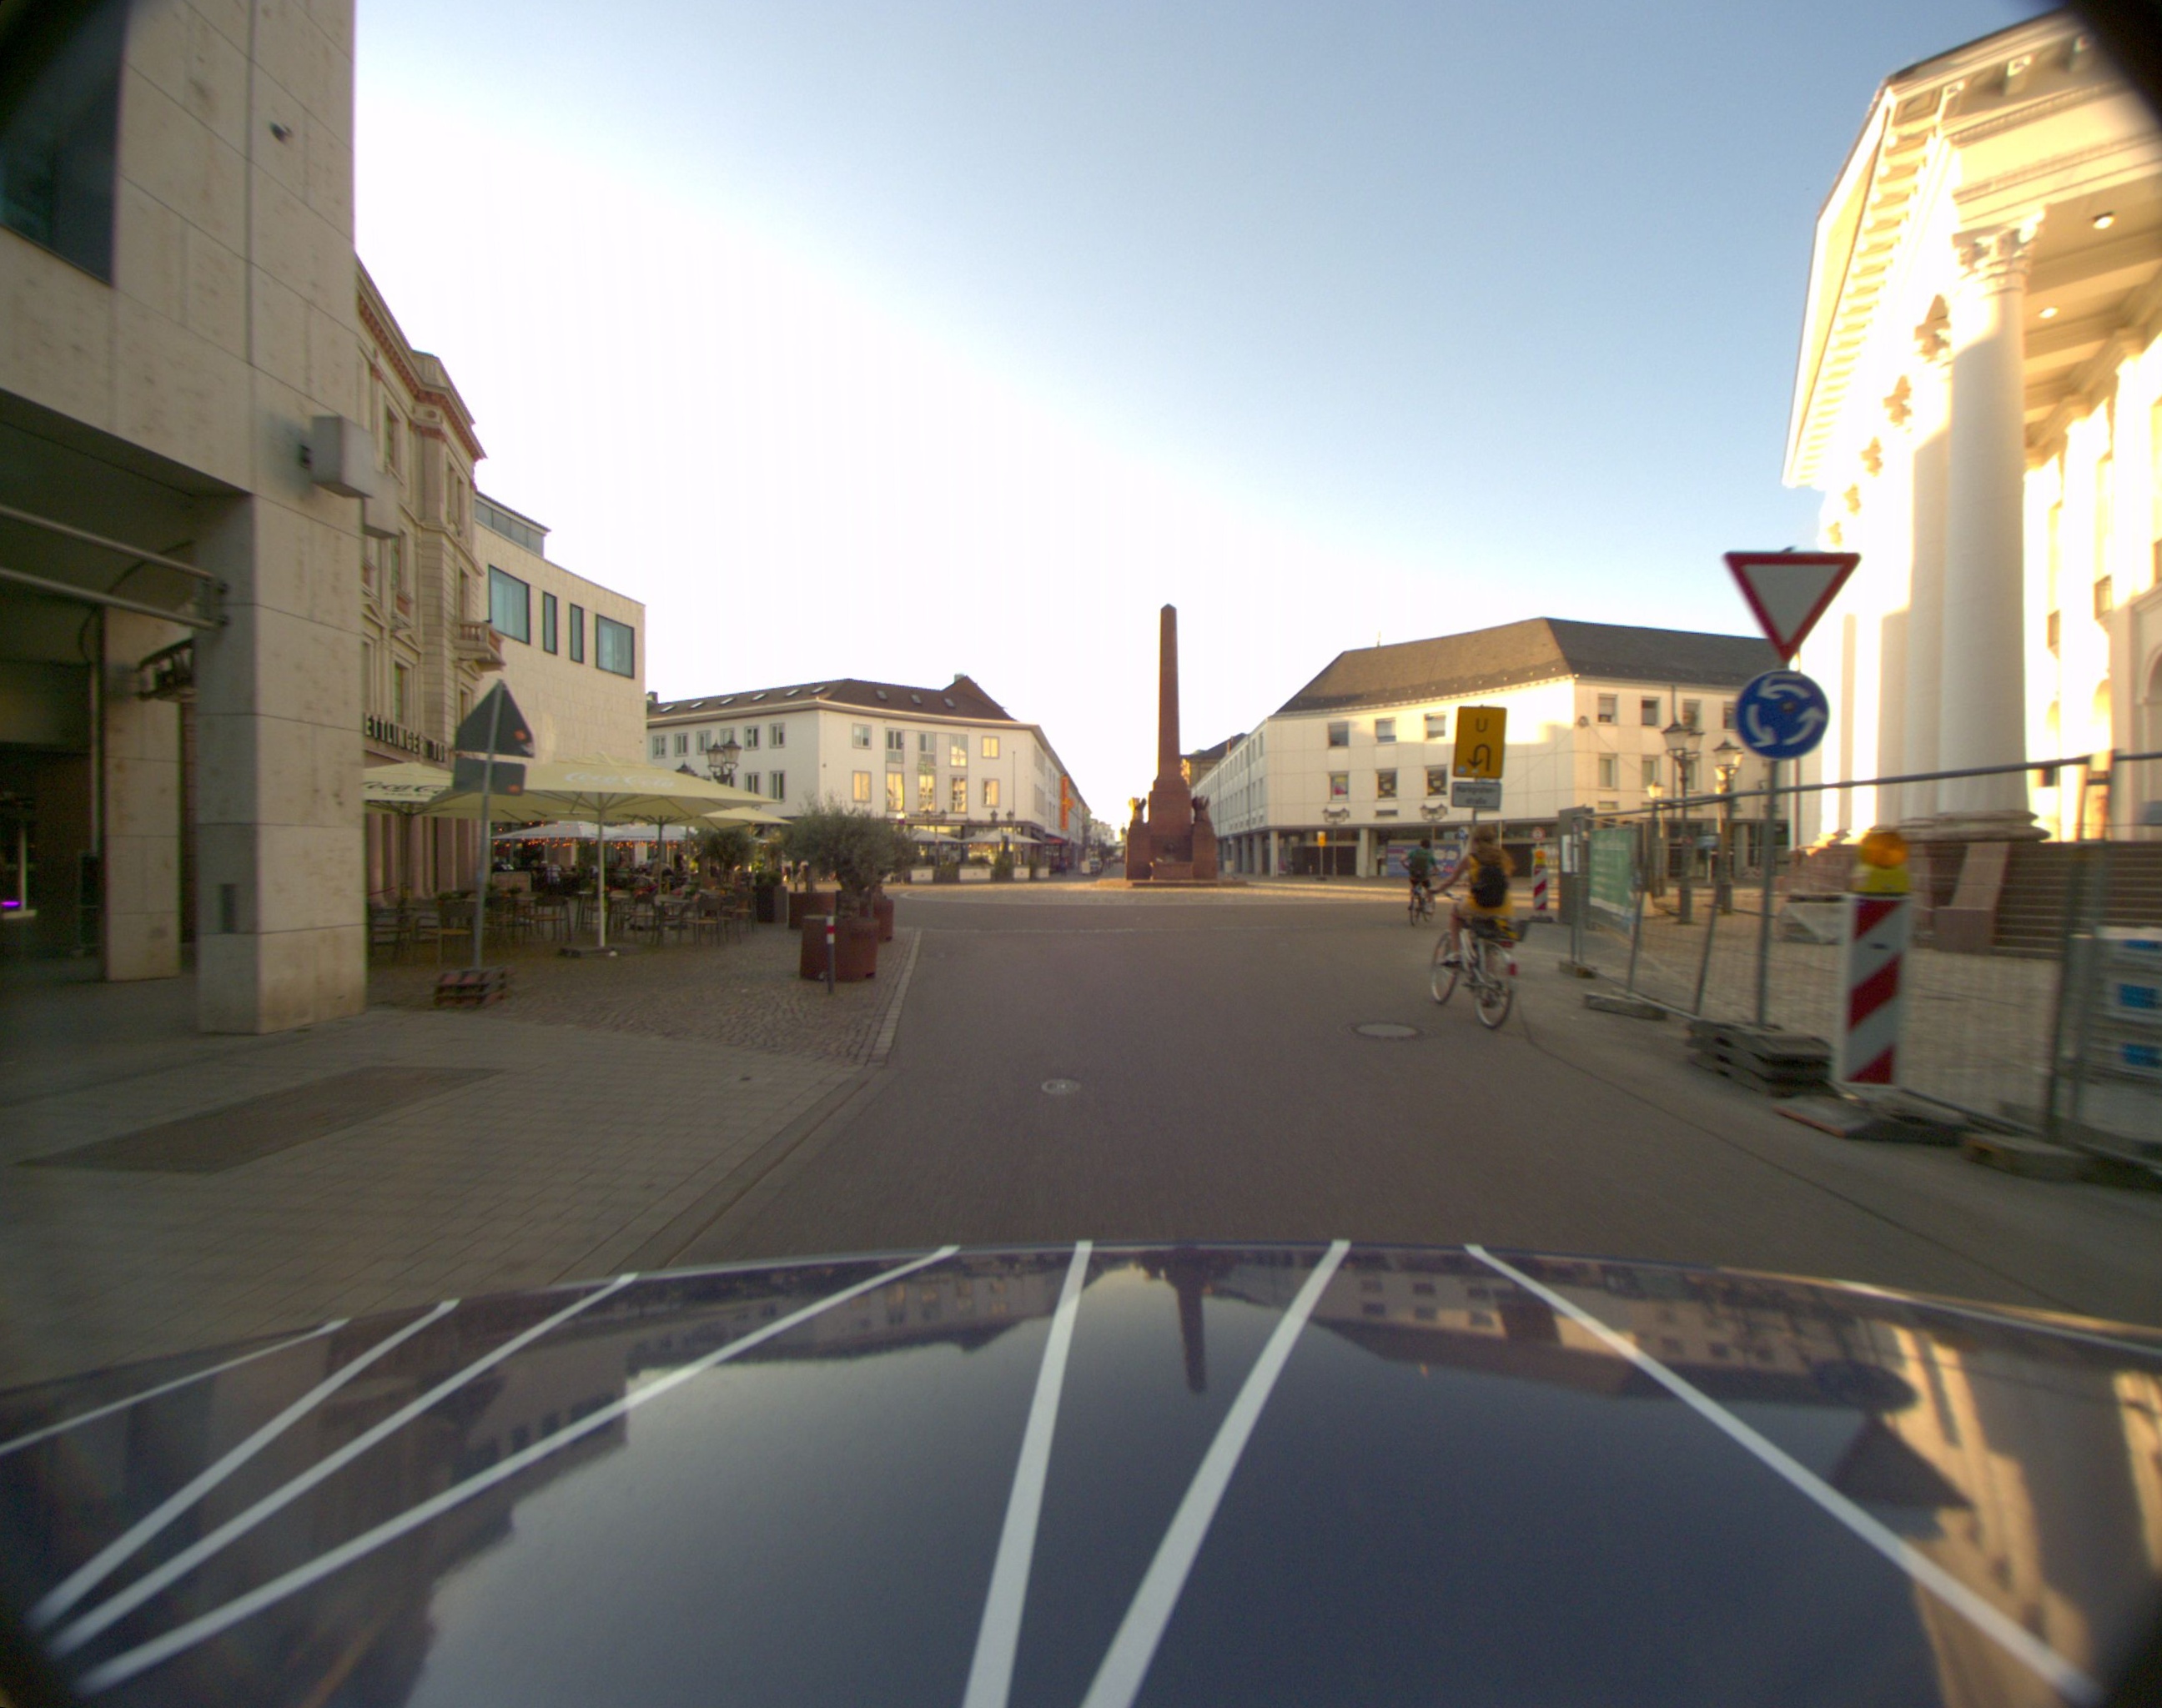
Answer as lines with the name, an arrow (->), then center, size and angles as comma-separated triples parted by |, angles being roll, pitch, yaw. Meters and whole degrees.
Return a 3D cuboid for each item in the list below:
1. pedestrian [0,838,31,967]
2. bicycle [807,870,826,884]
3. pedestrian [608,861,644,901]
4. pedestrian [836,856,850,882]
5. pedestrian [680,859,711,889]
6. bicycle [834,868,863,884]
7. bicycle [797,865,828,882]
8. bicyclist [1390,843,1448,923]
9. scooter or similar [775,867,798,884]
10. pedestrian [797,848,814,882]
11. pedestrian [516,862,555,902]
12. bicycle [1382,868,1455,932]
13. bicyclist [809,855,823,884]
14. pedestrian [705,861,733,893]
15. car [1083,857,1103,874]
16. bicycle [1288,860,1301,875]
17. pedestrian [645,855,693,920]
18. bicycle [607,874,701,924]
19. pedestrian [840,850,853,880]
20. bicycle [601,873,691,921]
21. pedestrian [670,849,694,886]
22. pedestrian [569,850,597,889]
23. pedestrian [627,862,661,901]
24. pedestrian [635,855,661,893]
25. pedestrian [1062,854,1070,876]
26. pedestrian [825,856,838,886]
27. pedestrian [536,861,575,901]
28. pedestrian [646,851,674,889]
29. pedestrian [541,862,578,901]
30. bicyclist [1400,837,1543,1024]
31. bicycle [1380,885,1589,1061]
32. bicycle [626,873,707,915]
pedestrian -> -14.843, 0.654, 10.243 | 0.716, 1.735, 0.670 | 0, 0, 26
bicycle -> -15.965, 1.390, 45.884 | 0.482, 0.843, 1.484 | 0, 0, 5
pedestrian -> -16.983, 0.991, 28.374 | 0.721, 1.439, 0.867 | 0, 0, 27
pedestrian -> -14.916, 0.938, 47.659 | 0.619, 1.666, 0.734 | 0, 0, 4
pedestrian -> -18.775, 0.949, 37.015 | 0.969, 1.439, 0.947 | 0, 0, 18
bicycle -> -14.323, 1.333, 46.871 | 0.473, 0.928, 1.681 | 0, 0, 40
bicycle -> -15.707, 1.139, 44.496 | 0.473, 0.928, 1.681 | 0, 0, 40
bicyclist -> 7.090, 0.579, 15.906 | 0.796, 1.593, 1.233 | 0, 0, 40
scooter or similar -> -17.629, 1.277, 45.528 | 0.486, 1.005, 1.207 | 0, 0, 34
pedestrian -> -16.062, 0.642, 44.254 | 0.644, 1.917, 0.629 | 0, 0, 27
pedestrian -> -20.131, 1.031, 28.040 | 0.773, 1.439, 0.854 | 0, 0, 18
bicycle -> 7.094, 0.925, 15.916 | 0.796, 1.210, 2.238 | 0, 0, 40
bicyclist -> -15.979, 0.926, 45.870 | 0.482, 1.733, 0.835 | 0, 0, 5
pedestrian -> -16.462, 1.041, 34.541 | 0.721, 1.439, 0.867 | 0, 0, 27
car -> 1.123, 1.041, 69.923 | 1.780, 1.416, 3.961 | -1, 0, 2
bicycle -> 16.672, 1.015, 59.375 | 0.480, 1.149, 1.950 | 0, 0, 2
pedestrian -> -10.315, 0.831, 19.026 | 0.748, 1.579, 0.715 | -1, 0, 20
bicycle -> -10.099, 1.036, 18.039 | 0.606, 1.121, 1.910 | 0, -2, 28
pedestrian -> -14.434, 0.684, 46.822 | 0.508, 1.807, 0.719 | 0, 0, 4
bicycle -> -10.788, 1.047, 18.926 | 0.606, 1.121, 1.910 | 0, -2, 28
pedestrian -> -19.096, 0.634, 36.383 | 0.715, 1.737, 0.710 | 0, 0, 8
pedestrian -> -22.229, 0.678, 33.924 | 0.709, 1.737, 0.717 | 0, 0, 9
pedestrian -> -16.871, 1.053, 29.359 | 0.721, 1.439, 0.867 | 0, 0, 27
pedestrian -> -21.007, 0.972, 36.878 | 0.728, 1.792, 0.851 | -1, 0, 11
pedestrian -> -1.144, 0.847, 58.875 | 0.603, 1.690, 0.713 | 0, 0, -3
pedestrian -> -15.751, 1.071, 47.996 | 0.580, 1.912, 0.543 | 0, 0, 4
pedestrian -> -19.273, 0.988, 27.883 | 0.773, 1.439, 0.854 | 0, 0, 17
pedestrian -> -20.354, 0.758, 36.762 | 0.727, 1.792, 0.983 | -1, 0, 10
pedestrian -> -19.896, 1.040, 29.003 | 0.773, 1.439, 0.854 | 0, 0, 18
bicyclist -> 3.393, 0.630, 6.693 | 0.798, 1.523, 0.974 | 0, 0, 4
bicycle -> 3.414, 0.922, 6.724 | 0.798, 1.210, 2.234 | 0, 0, 4
bicycle -> -11.643, 1.115, 21.394 | 0.605, 1.121, 1.911 | -1, -2, 39
